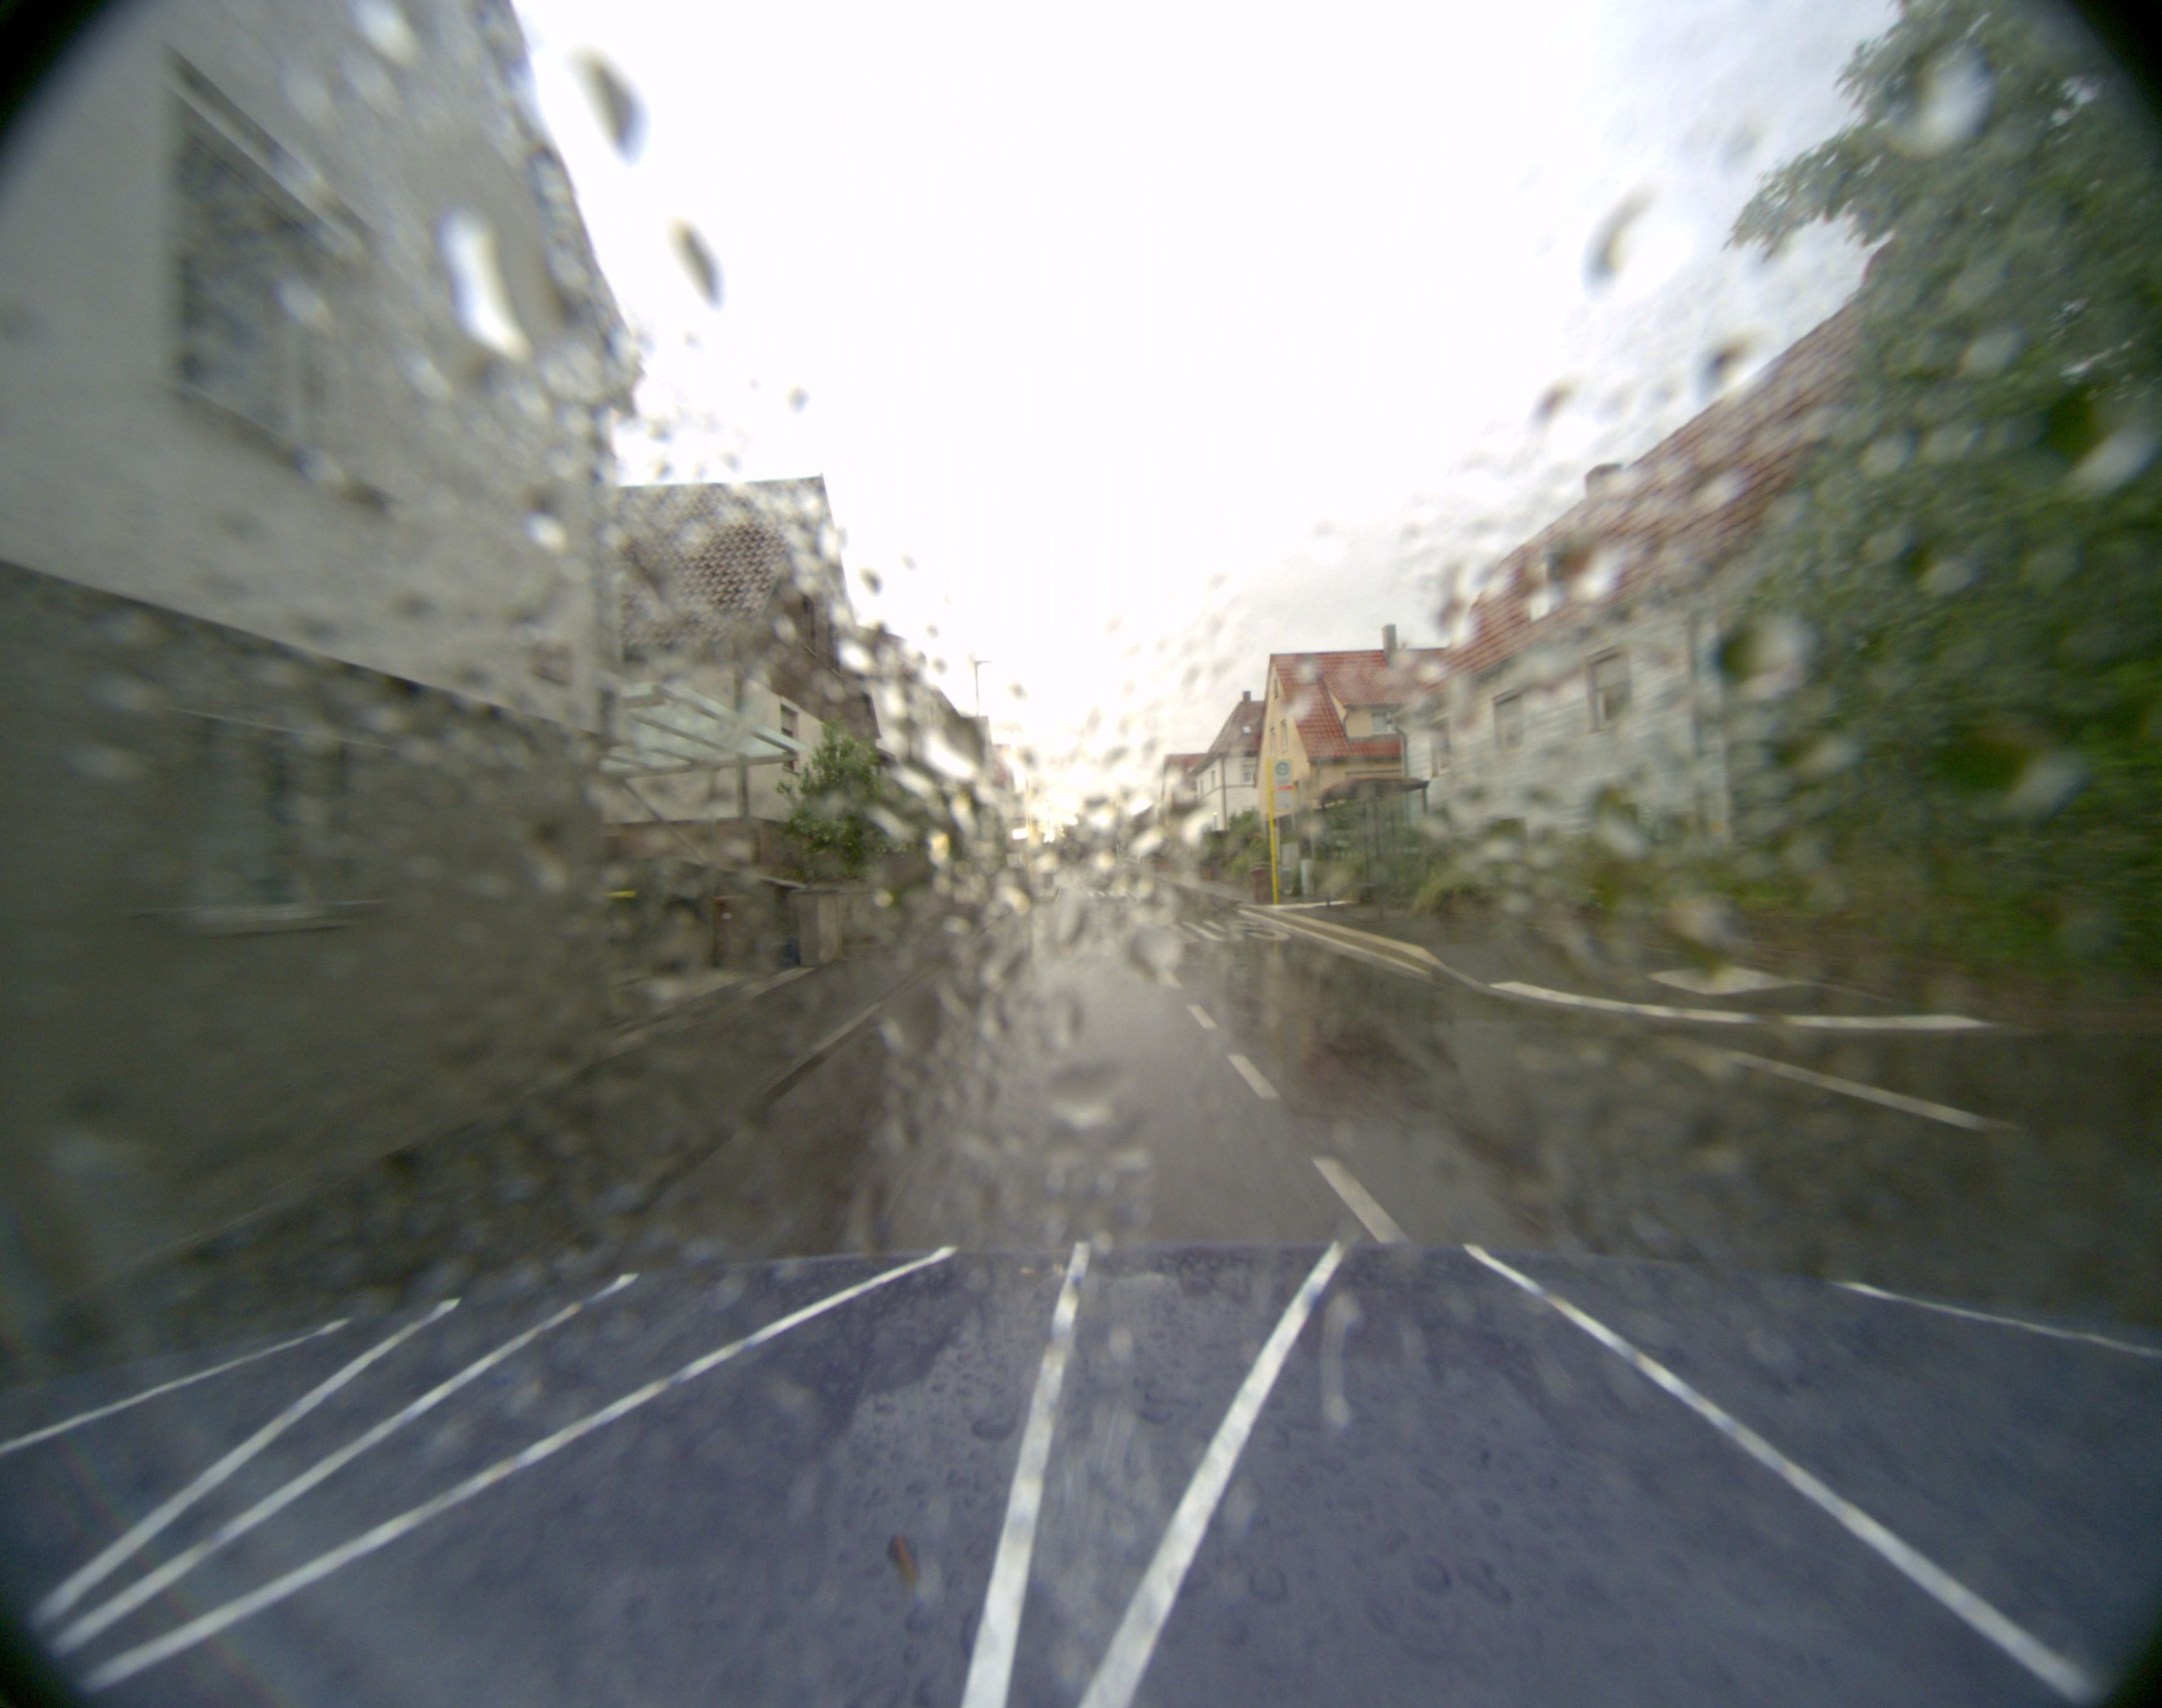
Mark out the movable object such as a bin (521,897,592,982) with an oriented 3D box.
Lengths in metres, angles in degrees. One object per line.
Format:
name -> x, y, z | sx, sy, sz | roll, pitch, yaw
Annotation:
movable object such as a bin -> -6.916, 1.113, 10.041 | 0.544, 1.055, 0.495 | -2, 1, 1

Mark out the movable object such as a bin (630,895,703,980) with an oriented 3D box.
movable object such as a bin -> -5.479, 1.092, 10.063 | 0.620, 1.055, 0.526 | -2, 1, 1

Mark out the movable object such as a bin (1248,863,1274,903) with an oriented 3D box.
movable object such as a bin -> 5.230, 0.842, 22.129 | 0.554, 1.076, 0.527 | -6, 0, 2

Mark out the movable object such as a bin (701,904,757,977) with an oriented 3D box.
movable object such as a bin -> -4.689, 1.143, 10.145 | 0.494, 0.899, 0.476 | -2, 1, 1

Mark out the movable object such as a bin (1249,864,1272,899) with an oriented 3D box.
movable object such as a bin -> 5.086, 0.787, 21.541 | 0.469, 0.933, 0.455 | -6, -2, 2

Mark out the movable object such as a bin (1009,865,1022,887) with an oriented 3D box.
movable object such as a bin -> -3.271, 1.100, 38.101 | 0.569, 1.070, 0.523 | -2, 1, -2

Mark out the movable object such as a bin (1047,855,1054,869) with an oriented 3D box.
movable object such as a bin -> -2.675, 0.720, 66.571 | 0.569, 1.179, 0.537 | -1, 1, -2

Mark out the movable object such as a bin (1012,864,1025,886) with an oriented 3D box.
movable object such as a bin -> -3.198, 1.082, 38.946 | 0.569, 1.070, 0.537 | -2, 1, -2

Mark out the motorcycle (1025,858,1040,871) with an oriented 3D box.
motorcycle -> -3.868, 0.798, 60.641 | 0.557, 1.007, 1.147 | -2, 2, -39

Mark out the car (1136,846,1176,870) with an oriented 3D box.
car -> 8.451, 0.467, 85.822 | 3.999, 1.963, 1.873 | 10, 0, -3
